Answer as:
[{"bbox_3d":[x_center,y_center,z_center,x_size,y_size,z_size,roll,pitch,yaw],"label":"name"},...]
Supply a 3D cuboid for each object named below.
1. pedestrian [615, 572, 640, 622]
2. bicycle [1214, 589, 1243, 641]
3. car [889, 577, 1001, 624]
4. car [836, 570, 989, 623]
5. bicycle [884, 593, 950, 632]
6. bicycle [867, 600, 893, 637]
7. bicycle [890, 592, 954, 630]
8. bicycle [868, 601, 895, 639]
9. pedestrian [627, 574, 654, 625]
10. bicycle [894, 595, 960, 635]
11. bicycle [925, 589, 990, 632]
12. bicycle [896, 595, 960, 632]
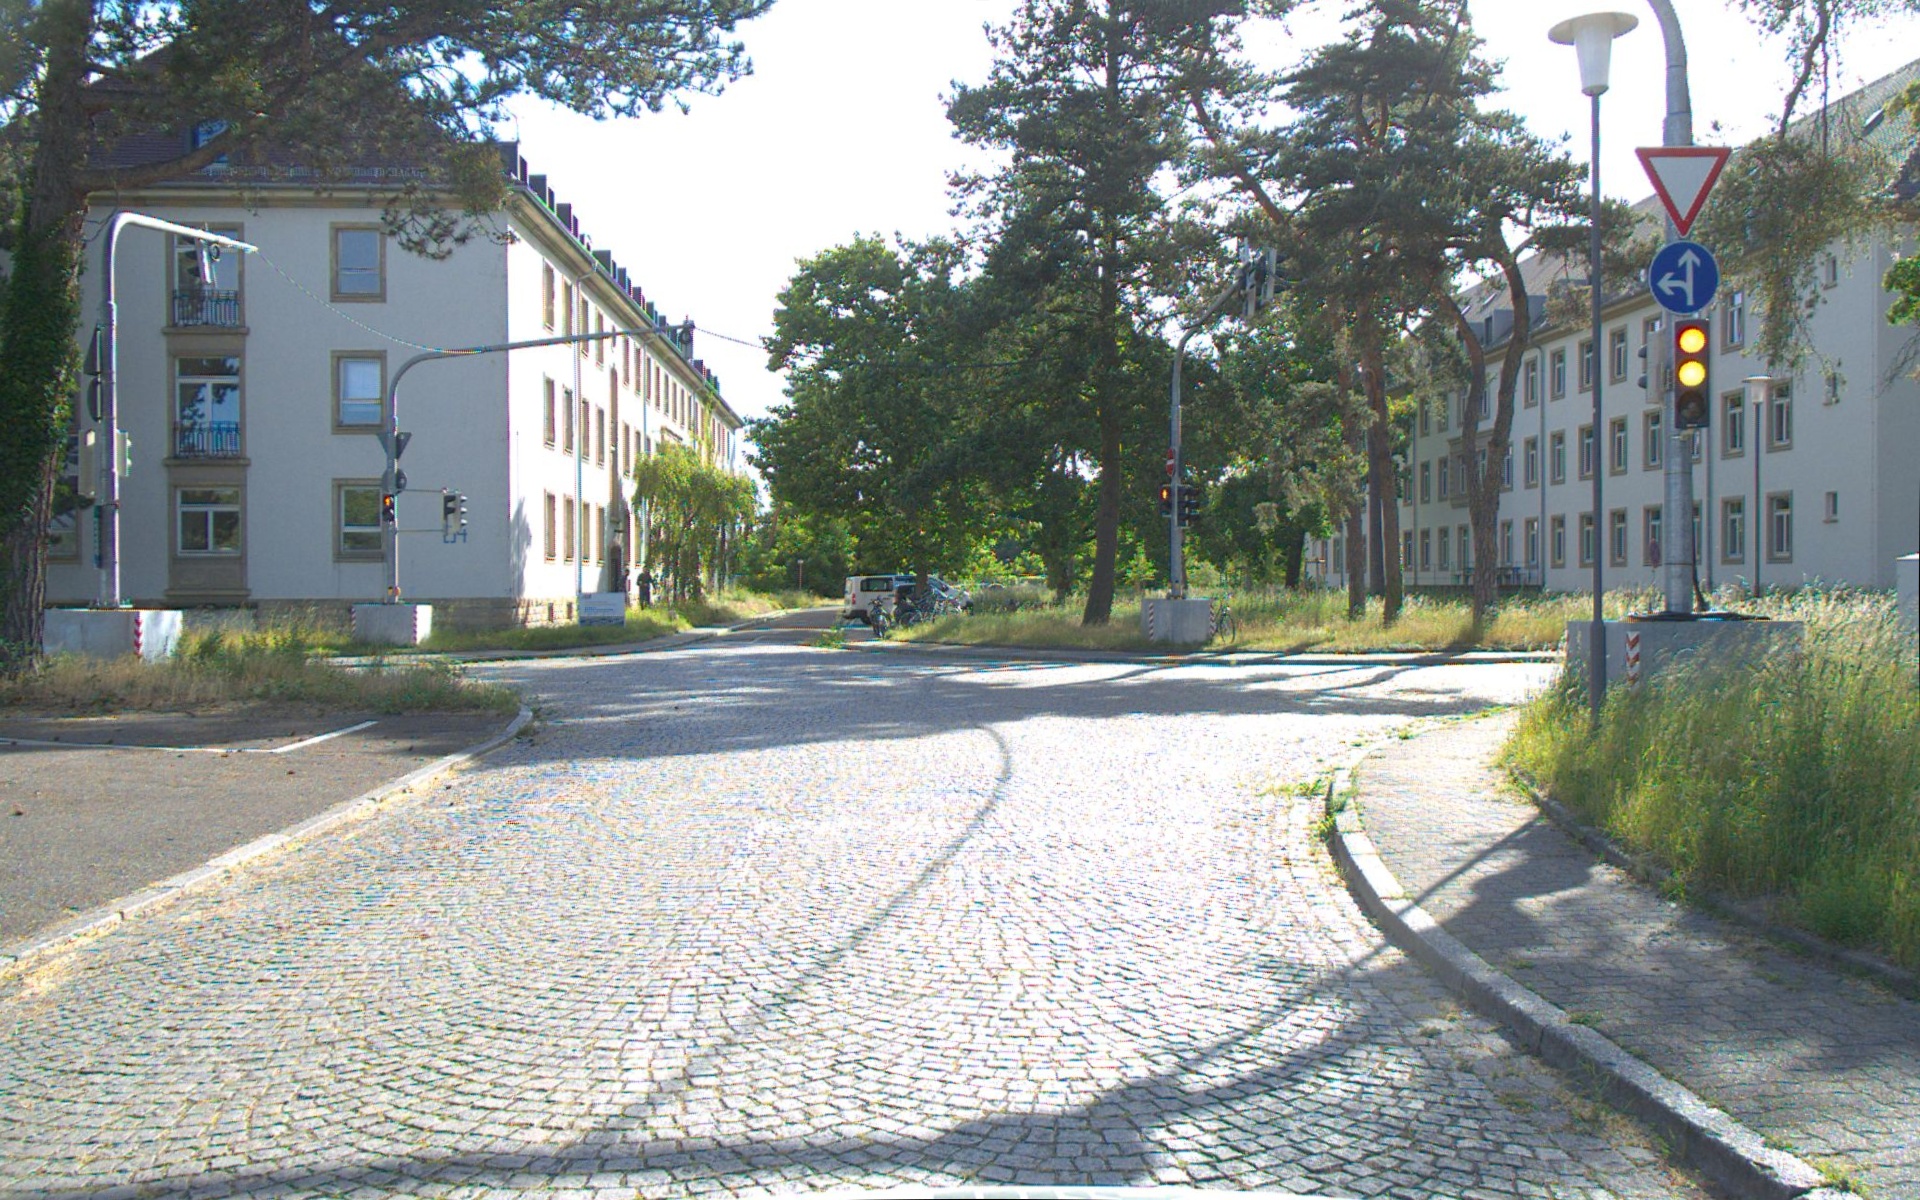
[{"bbox_3d":[-12.502,-0.107,62.193,0.751,1.849,0.683,0,0,8],"label":"pedestrian"},{"bbox_3d":[5.852,0.324,36.062,0.456,1.099,1.174,0,0,1],"label":"bicycle"},{"bbox_3d":[-0.572,0.008,61.683,3.915,1.713,1.843,0,0,-11],"label":"car"},{"bbox_3d":[-1.921,-0.143,65.871,5.822,2.049,2.470,0,0,-10],"label":"car"},{"bbox_3d":[-1.292,0.374,49.887,1.920,1.149,0.641,-1,0,-30],"label":"bicycle"},{"bbox_3d":[-2.250,0.508,46.280,0.682,0.988,1.859,0,0,-4],"label":"bicycle"},{"bbox_3d":[-1.174,0.319,50.980,1.904,1.149,0.646,0,0,-8],"label":"bicycle"},{"bbox_3d":[-2.110,0.530,44.348,0.682,0.988,1.859,0,0,-4],"label":"bicycle"},{"bbox_3d":[-11.855,-0.018,61.376,0.794,1.849,0.555,0,0,8],"label":"pedestrian"},{"bbox_3d":[-0.968,0.430,48.683,1.903,1.149,0.749,0,0,-6],"label":"bicycle"},{"bbox_3d":[-0.091,0.305,49.426,1.903,1.257,0.485,0,0,-6],"label":"bicycle"},{"bbox_3d":[-0.936,0.393,47.886,1.818,1.049,0.749,0,0,-6],"label":"bicycle"}]
